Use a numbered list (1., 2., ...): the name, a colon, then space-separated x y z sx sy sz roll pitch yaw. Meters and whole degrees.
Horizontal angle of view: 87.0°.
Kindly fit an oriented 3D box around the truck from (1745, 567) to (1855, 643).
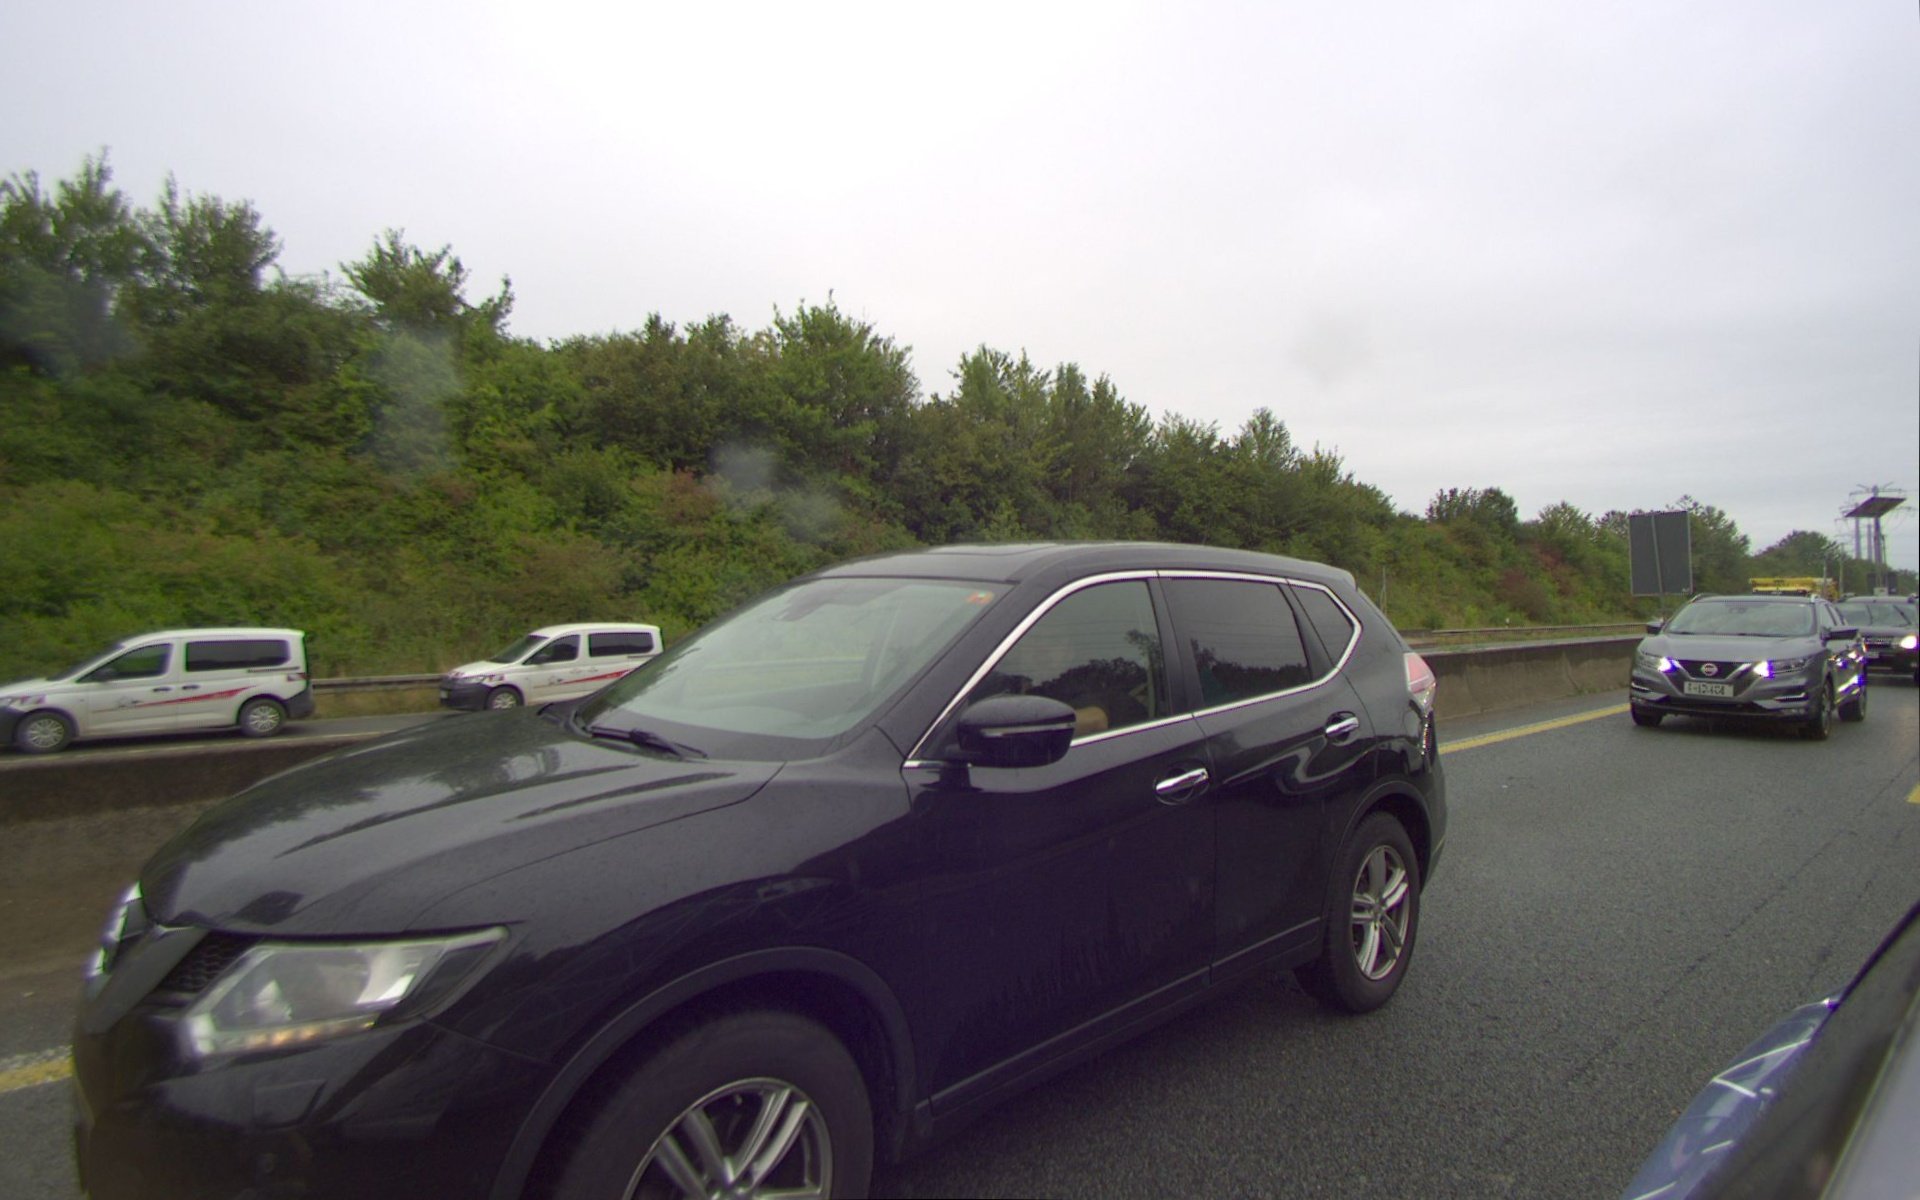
1. truck: 42.136 0.175 50.636 9.406 3.467 2.618 -1 1 -40

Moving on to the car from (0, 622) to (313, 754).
1. car: -13.265 1.330 16.649 4.196 1.780 1.731 -1 1 -42

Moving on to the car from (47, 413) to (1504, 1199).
1. car: -0.014 0.599 3.436 4.562 1.696 1.892 -1 1 -42

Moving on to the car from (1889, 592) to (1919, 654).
1. car: 25.350 0.549 26.036 4.054 1.509 1.782 -1 1 -42

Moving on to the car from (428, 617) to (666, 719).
1. car: -8.451 1.301 20.936 4.256 1.792 1.731 -1 1 -42

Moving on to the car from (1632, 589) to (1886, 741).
1. car: 9.720 0.631 12.199 4.054 1.509 1.782 -1 1 -42

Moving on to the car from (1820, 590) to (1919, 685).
1. car: 17.585 0.621 18.951 4.054 1.618 1.782 -1 1 -42
